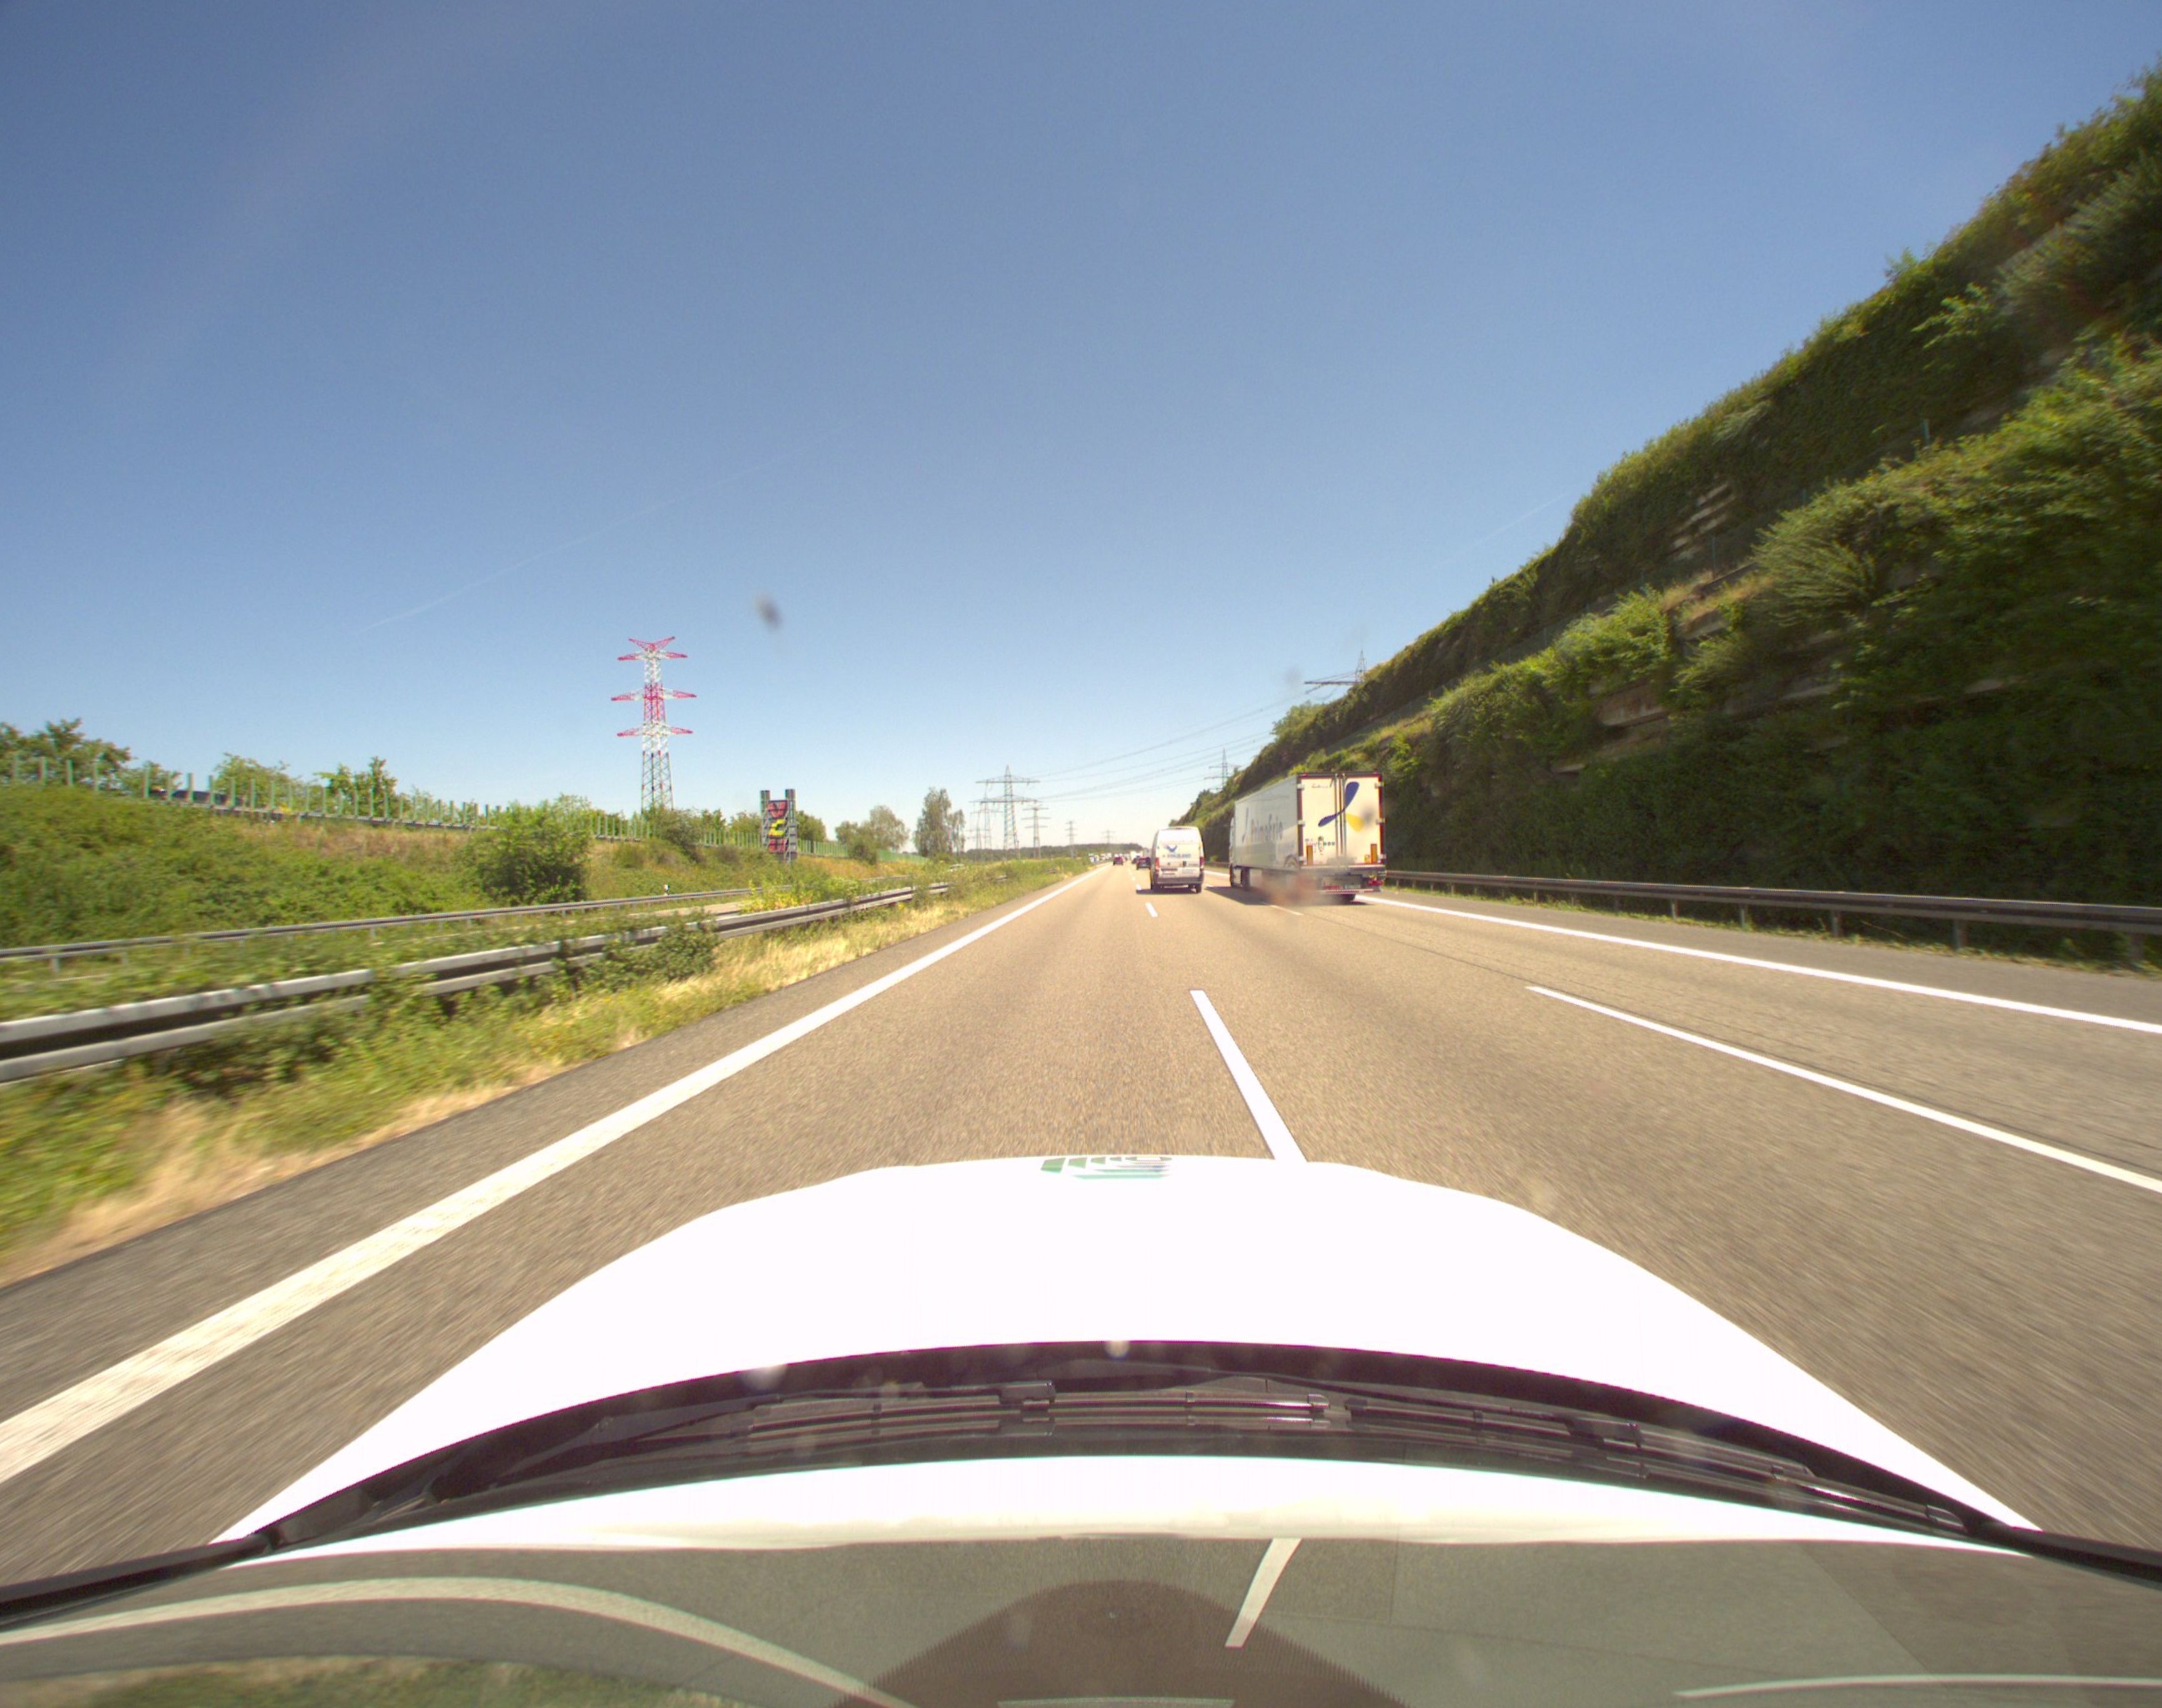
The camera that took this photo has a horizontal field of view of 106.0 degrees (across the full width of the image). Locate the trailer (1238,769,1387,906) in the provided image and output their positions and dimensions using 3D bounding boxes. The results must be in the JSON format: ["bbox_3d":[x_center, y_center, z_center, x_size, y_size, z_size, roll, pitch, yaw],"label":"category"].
[{"bbox_3d":[8.036,-0.479,30.302,2.627,4.060,12.374,0,0,3],"label":"trailer"}]

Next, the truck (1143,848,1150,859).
[{"bbox_3d":[20.199,-0.049,251.677,2.235,3.272,6.014,0,0,4],"label":"truck"}]

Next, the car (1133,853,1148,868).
[{"bbox_3d":[7.367,0.768,101.317,1.788,1.817,3.802,0,0,2],"label":"car"}]

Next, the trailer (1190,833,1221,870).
[{"bbox_3d":[13.625,-0.278,89.629,2.627,3.897,7.073,0,0,3],"label":"trailer"}]

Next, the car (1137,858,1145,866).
[{"bbox_3d":[13.212,1.679,178.375,1.778,1.717,3.711,0,0,4],"label":"car"}]

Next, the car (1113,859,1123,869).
[{"bbox_3d":[7.390,2.005,161.723,1.974,1.817,3.816,0,0,4],"label":"car"}]

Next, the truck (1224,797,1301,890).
[{"bbox_3d":[8.427,-0.473,38.391,2.627,4.060,5.803,0,0,3],"label":"truck"}]

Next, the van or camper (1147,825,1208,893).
[{"bbox_3d":[4.165,0.210,35.861,2.222,2.782,5.425,0,0,2],"label":"van or camper"}]

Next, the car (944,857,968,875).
[{"bbox_3d":[-14.841,1.380,96.746,1.960,2.008,4.405,0,0,2],"label":"car"}]

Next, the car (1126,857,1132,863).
[{"bbox_3d":[13.833,1.756,233.305,1.691,1.661,3.711,0,0,4],"label":"car"}]

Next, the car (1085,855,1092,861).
[{"bbox_3d":[2.305,1.175,248.185,1.958,2.008,4.409,0,0,5],"label":"car"}]
